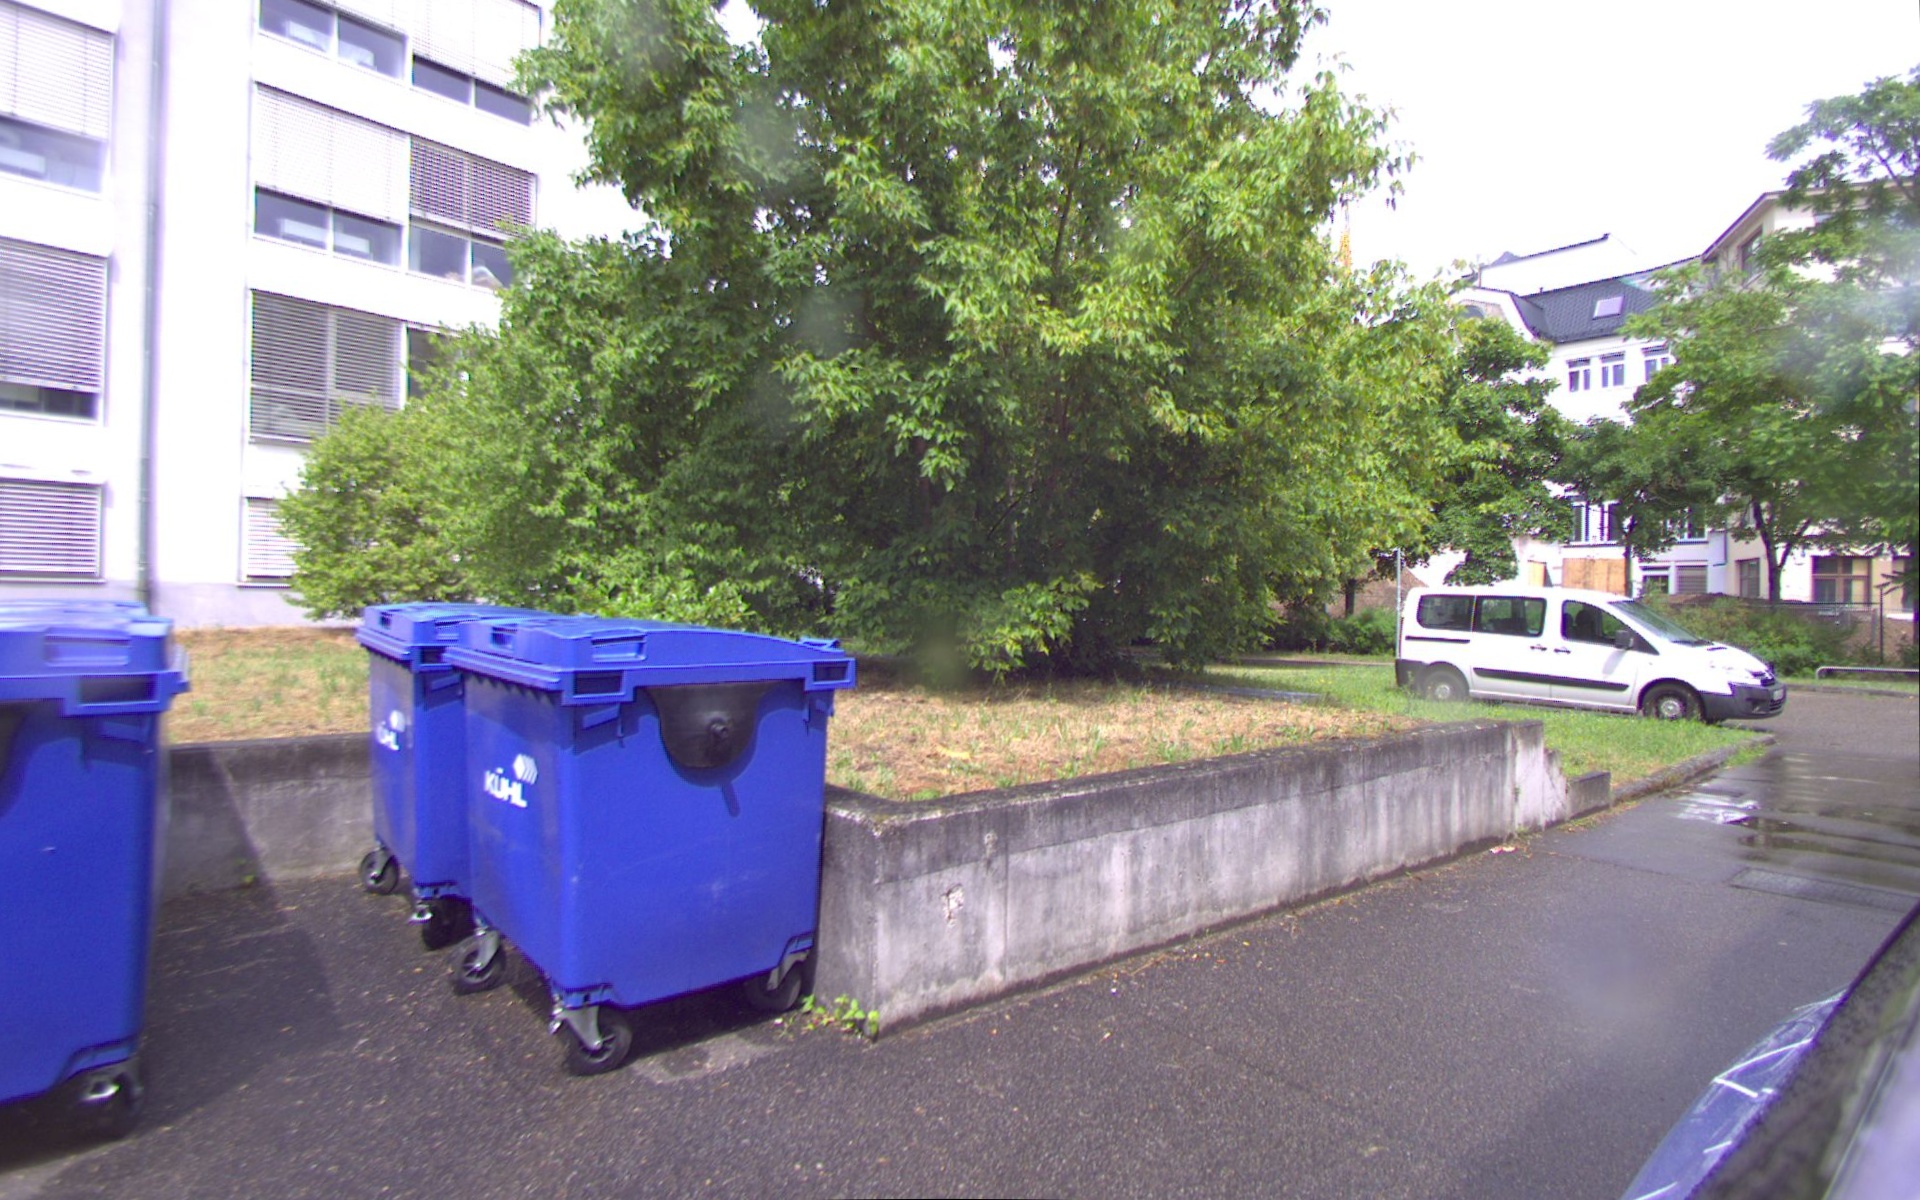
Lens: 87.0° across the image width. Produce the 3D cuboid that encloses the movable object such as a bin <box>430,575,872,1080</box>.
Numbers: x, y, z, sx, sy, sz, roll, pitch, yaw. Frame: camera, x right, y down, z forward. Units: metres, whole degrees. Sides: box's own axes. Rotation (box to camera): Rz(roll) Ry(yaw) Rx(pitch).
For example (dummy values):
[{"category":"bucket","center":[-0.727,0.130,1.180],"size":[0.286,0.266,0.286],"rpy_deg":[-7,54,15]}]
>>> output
[{"category":"movable object such as a bin","center":[-1.081,0.625,3.489],"size":[1.037,1.334,1.176],"rpy_deg":[3,-3,-41]}]

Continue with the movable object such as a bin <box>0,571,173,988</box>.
[{"category":"movable object such as a bin","center":[-3.561,0.562,3.638],"size":[1.037,1.334,1.231],"rpy_deg":[3,-1,-41]}]

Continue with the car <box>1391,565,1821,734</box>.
[{"category":"car","center":[9.158,0.597,14.795],"size":[1.963,2.039,4.950],"rpy_deg":[1,-1,-37]}]

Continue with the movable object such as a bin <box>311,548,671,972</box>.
[{"category":"movable object such as a bin","center":[-2.079,0.592,4.451],"size":[1.082,1.502,1.277],"rpy_deg":[3,-3,-41]}]

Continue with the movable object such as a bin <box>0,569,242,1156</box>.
[{"category":"movable object such as a bin","center":[-2.656,0.583,2.705],"size":[1.037,1.334,1.231],"rpy_deg":[3,-1,-41]}]
